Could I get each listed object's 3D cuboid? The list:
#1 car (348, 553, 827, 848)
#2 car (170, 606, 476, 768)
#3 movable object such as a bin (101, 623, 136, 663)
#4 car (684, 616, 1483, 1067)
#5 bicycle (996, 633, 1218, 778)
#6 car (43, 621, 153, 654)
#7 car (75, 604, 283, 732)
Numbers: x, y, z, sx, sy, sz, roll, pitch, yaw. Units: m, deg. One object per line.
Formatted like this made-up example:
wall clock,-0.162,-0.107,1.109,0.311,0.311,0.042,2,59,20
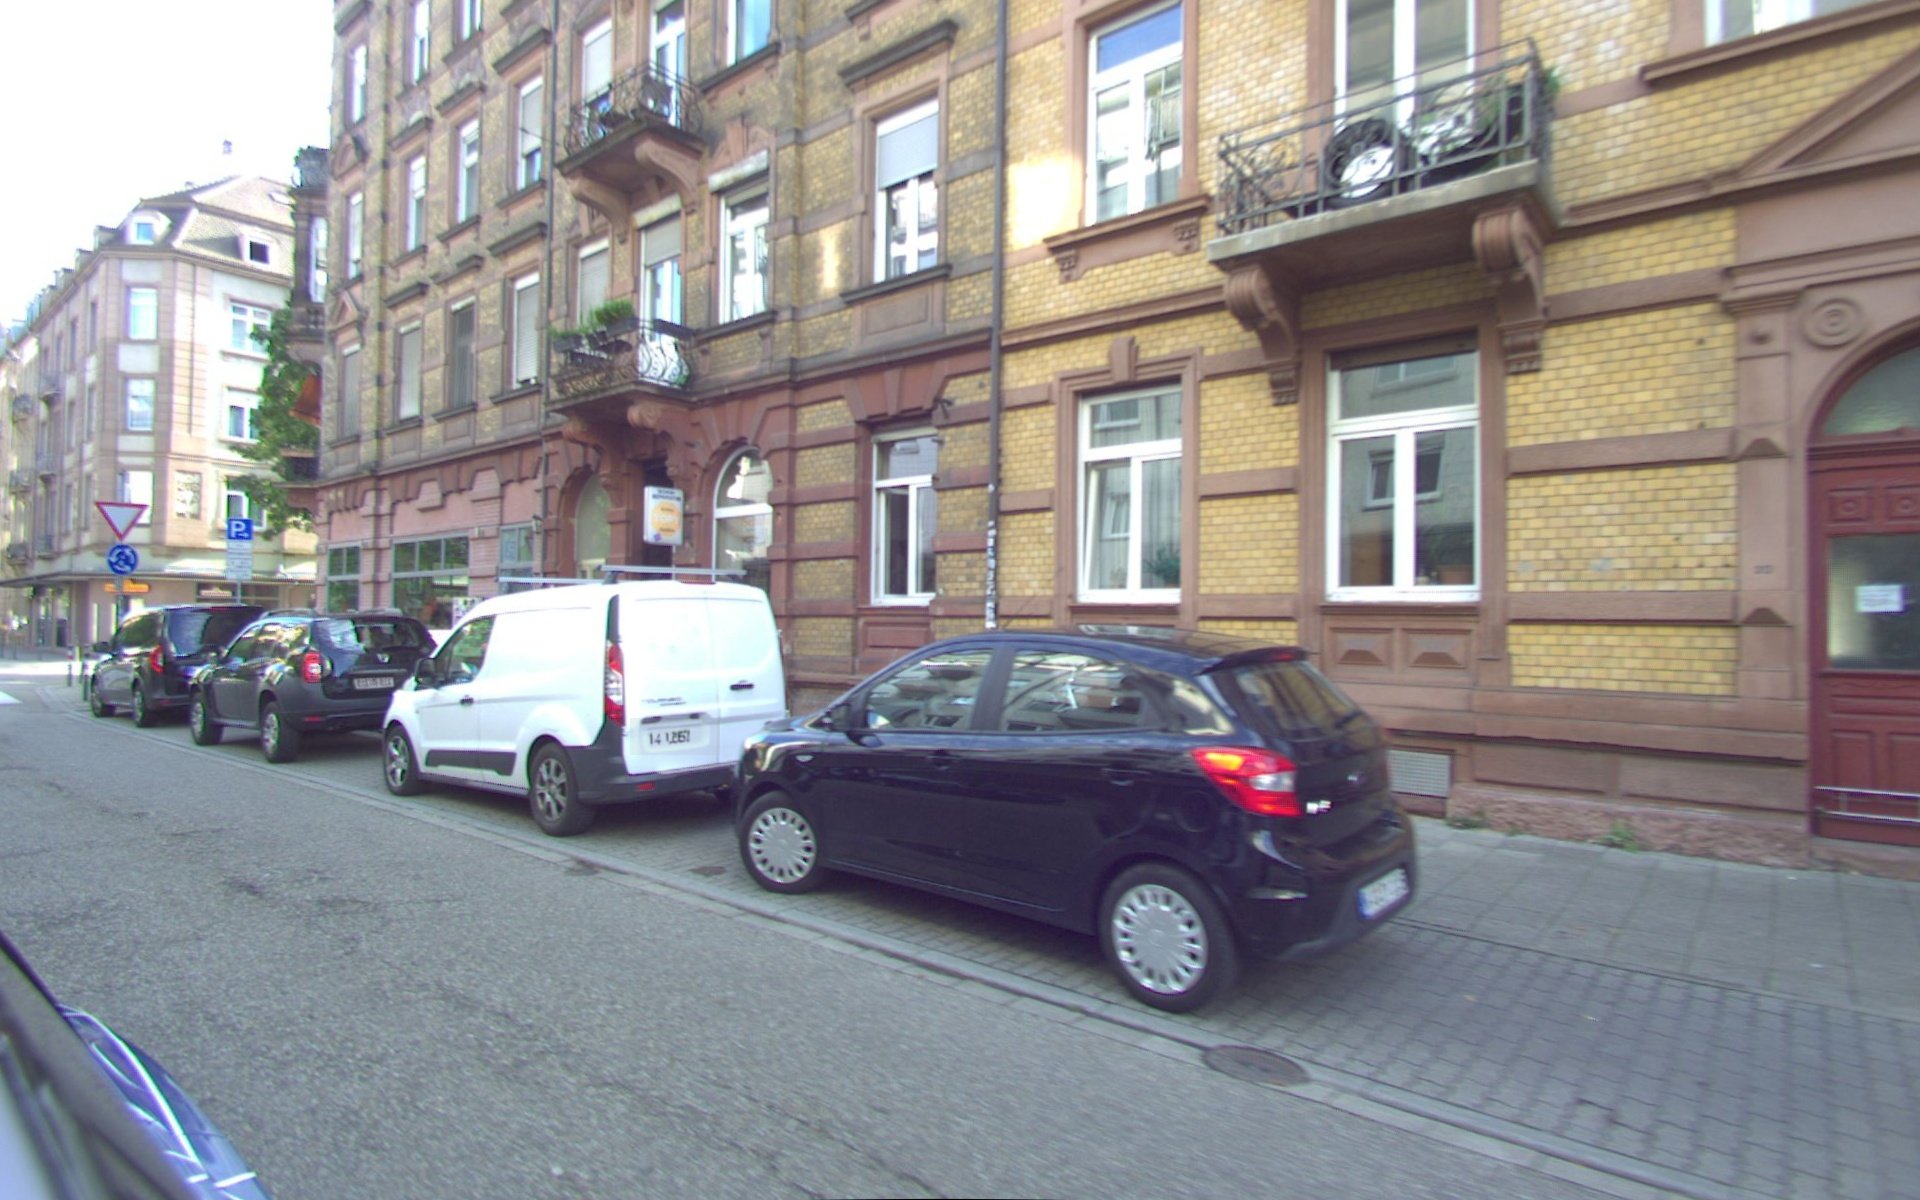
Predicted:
car,-3.344,0.710,8.660,4.433,1.886,1.900,-2,-2,40
car,-7.904,0.959,12.436,4.141,1.650,1.973,-2,-3,40
movable object such as a bin,-15.438,0.786,18.565,0.475,0.719,0.379,-1,-2,36
car,0.387,0.844,5.403,3.982,1.495,1.723,0,-1,42
bicycle,1.292,0.900,9.229,1.999,1.159,0.562,-1,-1,40
car,-44.966,1.947,52.888,1.993,1.633,3.958,-1,-1,31
car,-12.689,1.009,16.344,4.401,1.787,1.742,-2,-1,40
